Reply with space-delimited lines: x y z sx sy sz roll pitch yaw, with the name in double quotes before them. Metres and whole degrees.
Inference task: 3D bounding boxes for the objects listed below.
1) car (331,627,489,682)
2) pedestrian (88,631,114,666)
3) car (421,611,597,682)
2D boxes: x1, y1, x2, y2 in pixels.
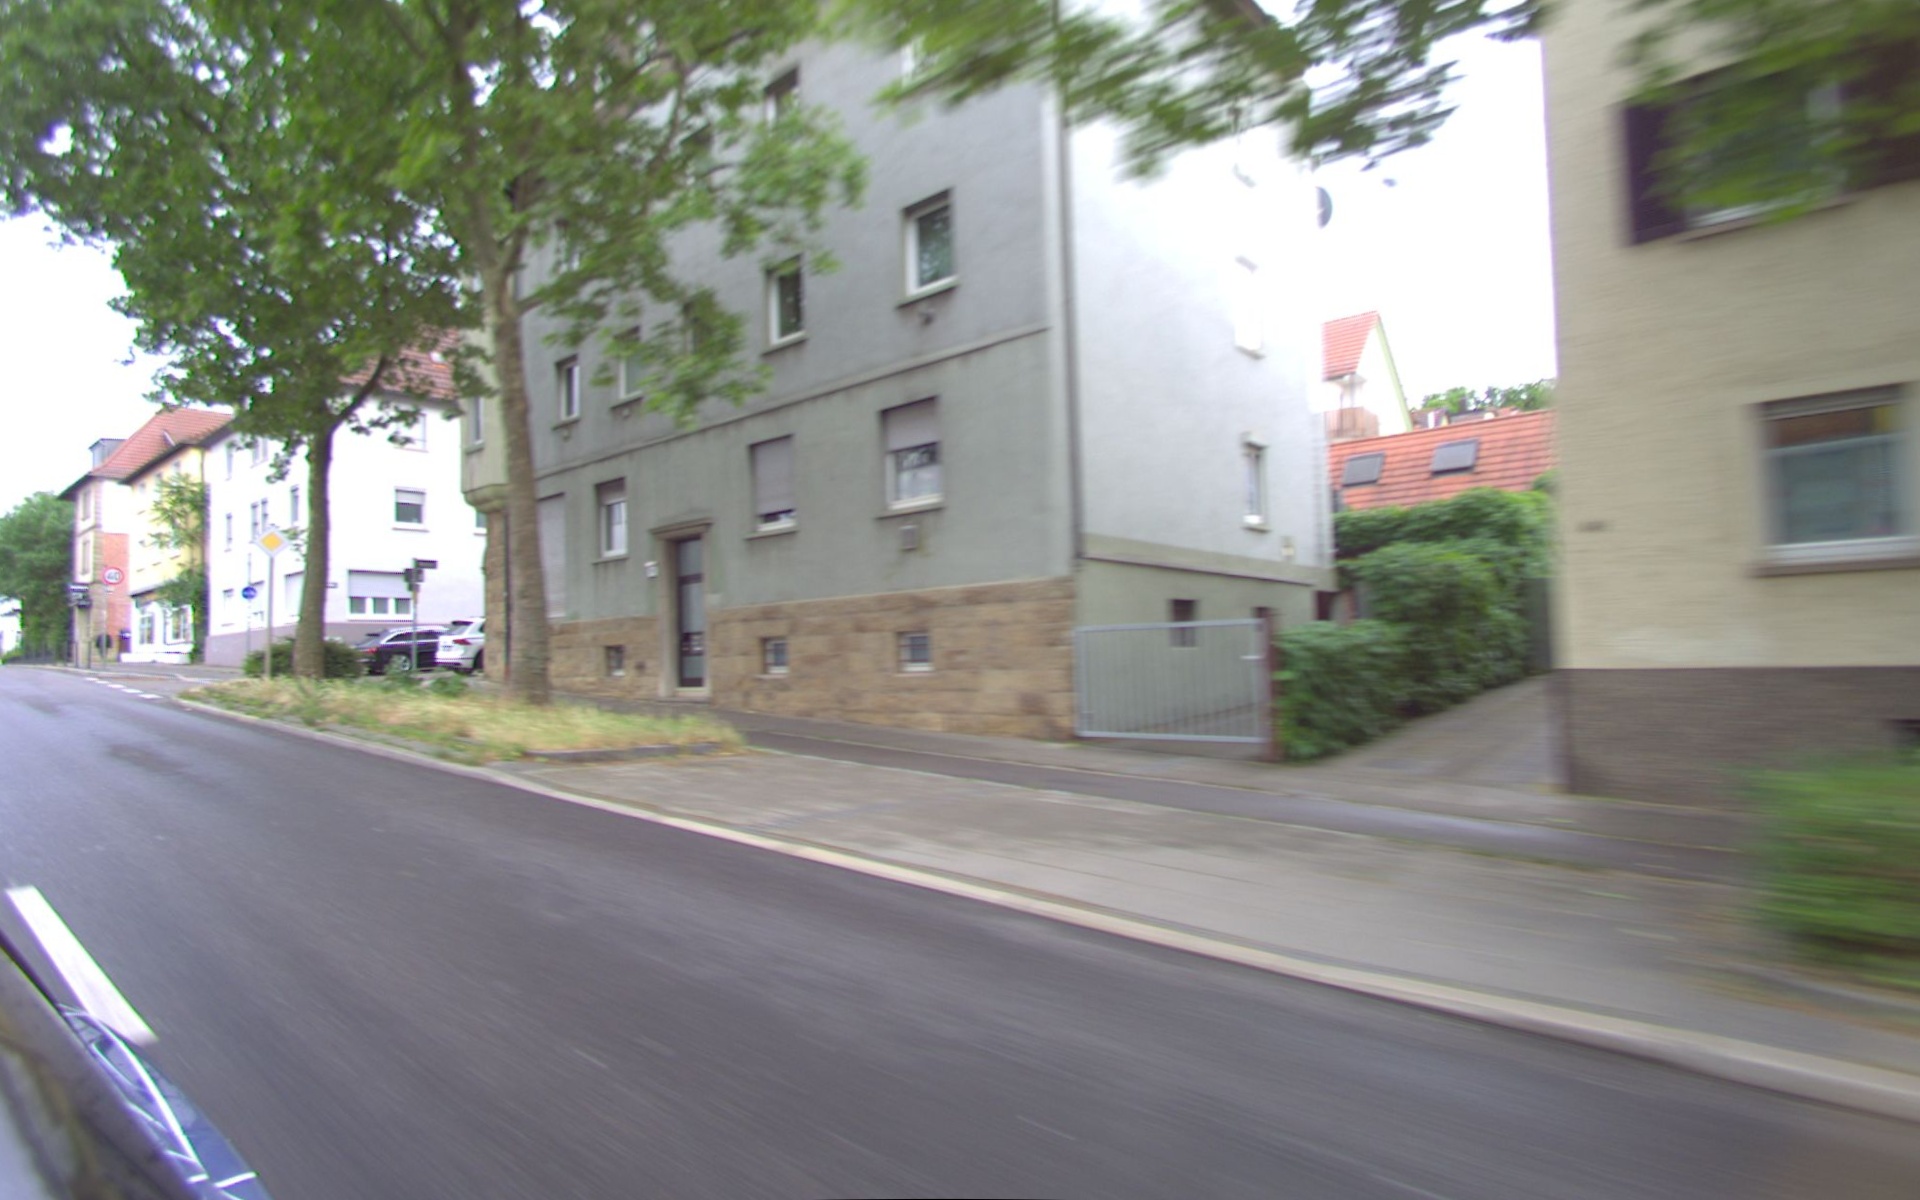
"car" -17.518 1.696 32.370 1.999 1.408 3.946 -3 0 41
"pedestrian" -42.373 2.384 49.939 0.992 1.692 0.807 -2 -2 39
"car" -12.961 1.298 29.247 1.999 1.716 4.139 -3 0 41
